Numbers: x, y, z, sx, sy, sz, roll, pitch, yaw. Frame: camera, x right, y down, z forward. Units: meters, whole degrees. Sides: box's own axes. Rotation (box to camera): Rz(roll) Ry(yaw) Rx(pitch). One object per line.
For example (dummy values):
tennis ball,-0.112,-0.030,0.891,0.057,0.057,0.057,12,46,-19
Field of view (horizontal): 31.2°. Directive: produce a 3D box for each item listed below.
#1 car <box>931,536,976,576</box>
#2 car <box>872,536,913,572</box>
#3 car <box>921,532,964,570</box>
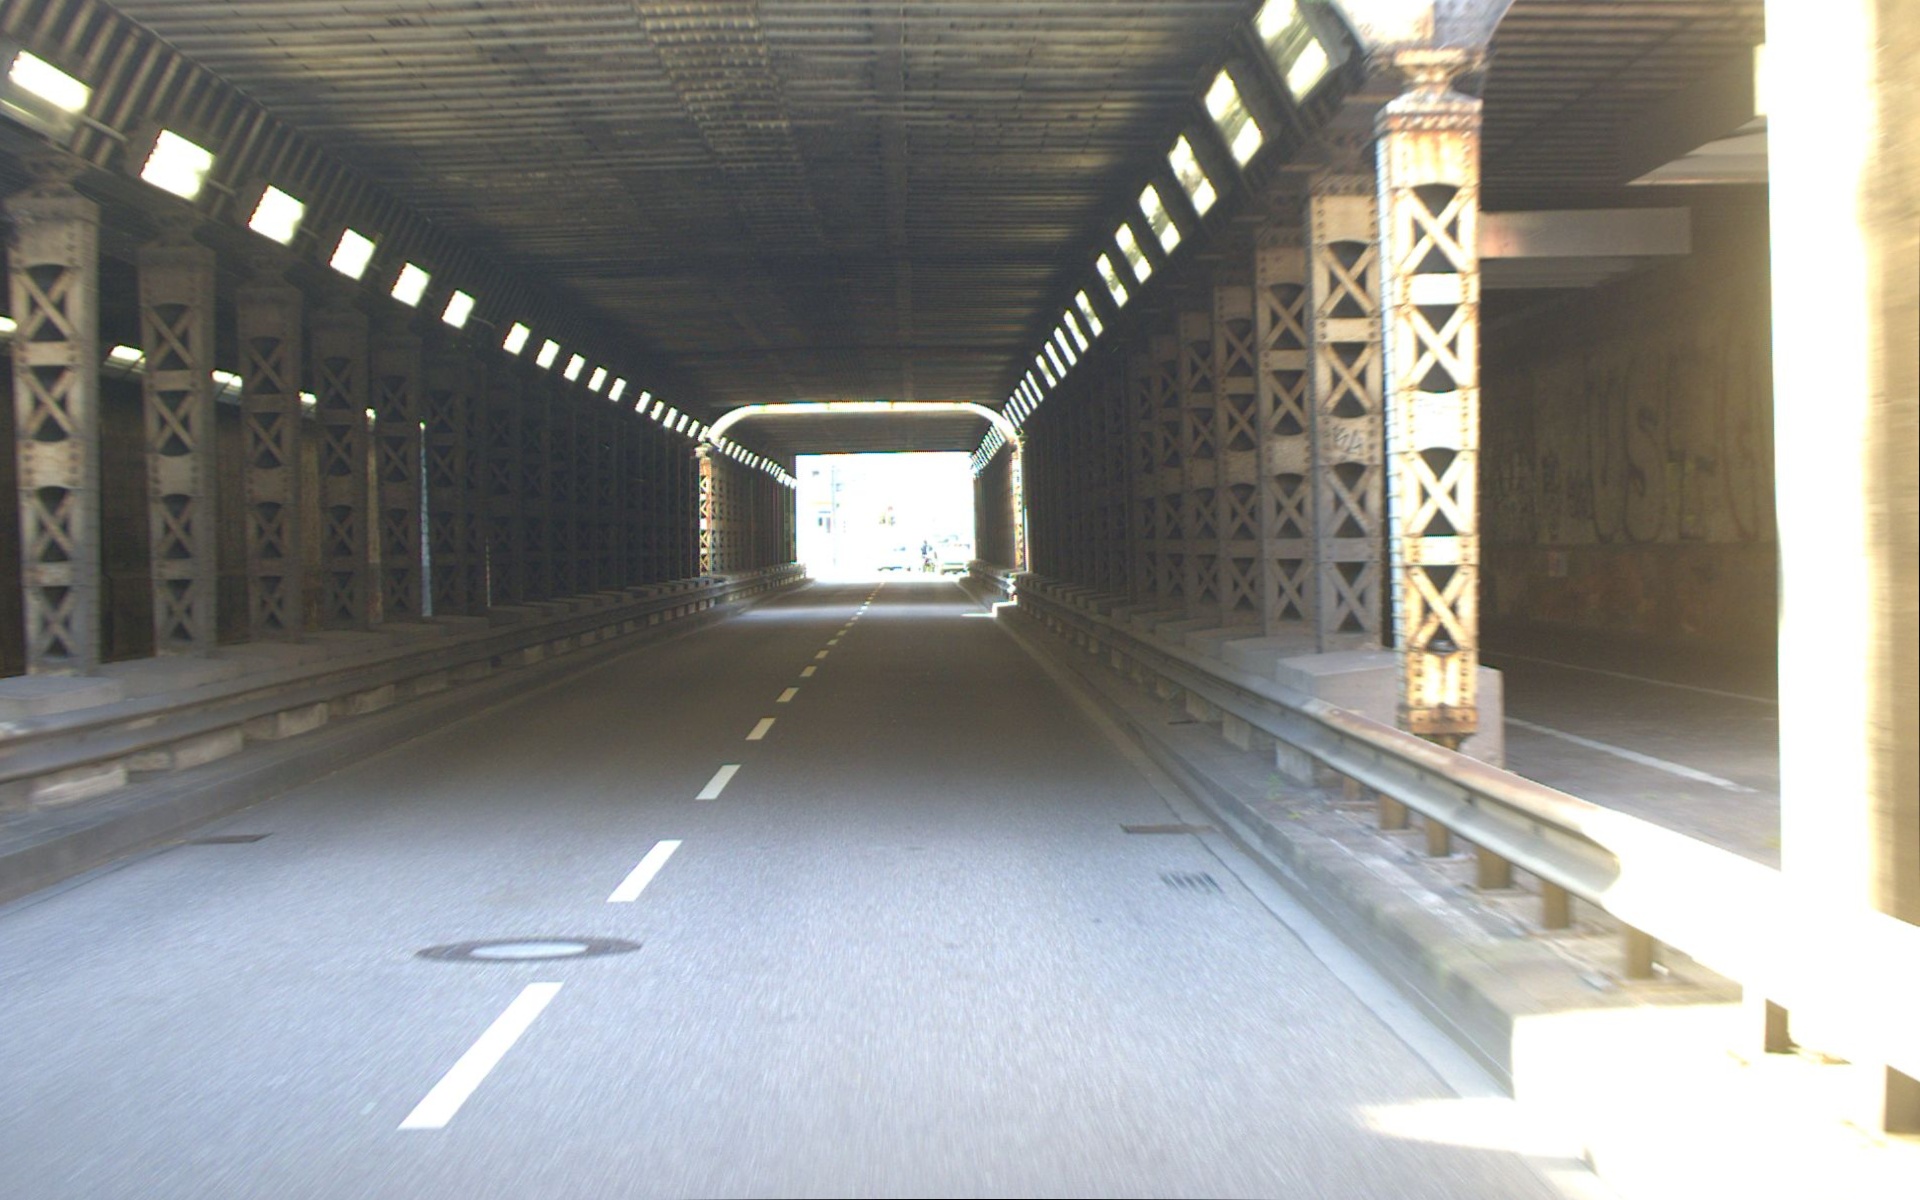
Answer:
car,-0.310,-1.997,155.604,1.993,1.778,4.000,-1,1,-1
car,-3.340,-2.301,171.407,1.993,1.778,4.000,-1,1,-1
car,-0.847,-2.353,164.830,1.993,1.778,4.000,-1,1,-1
